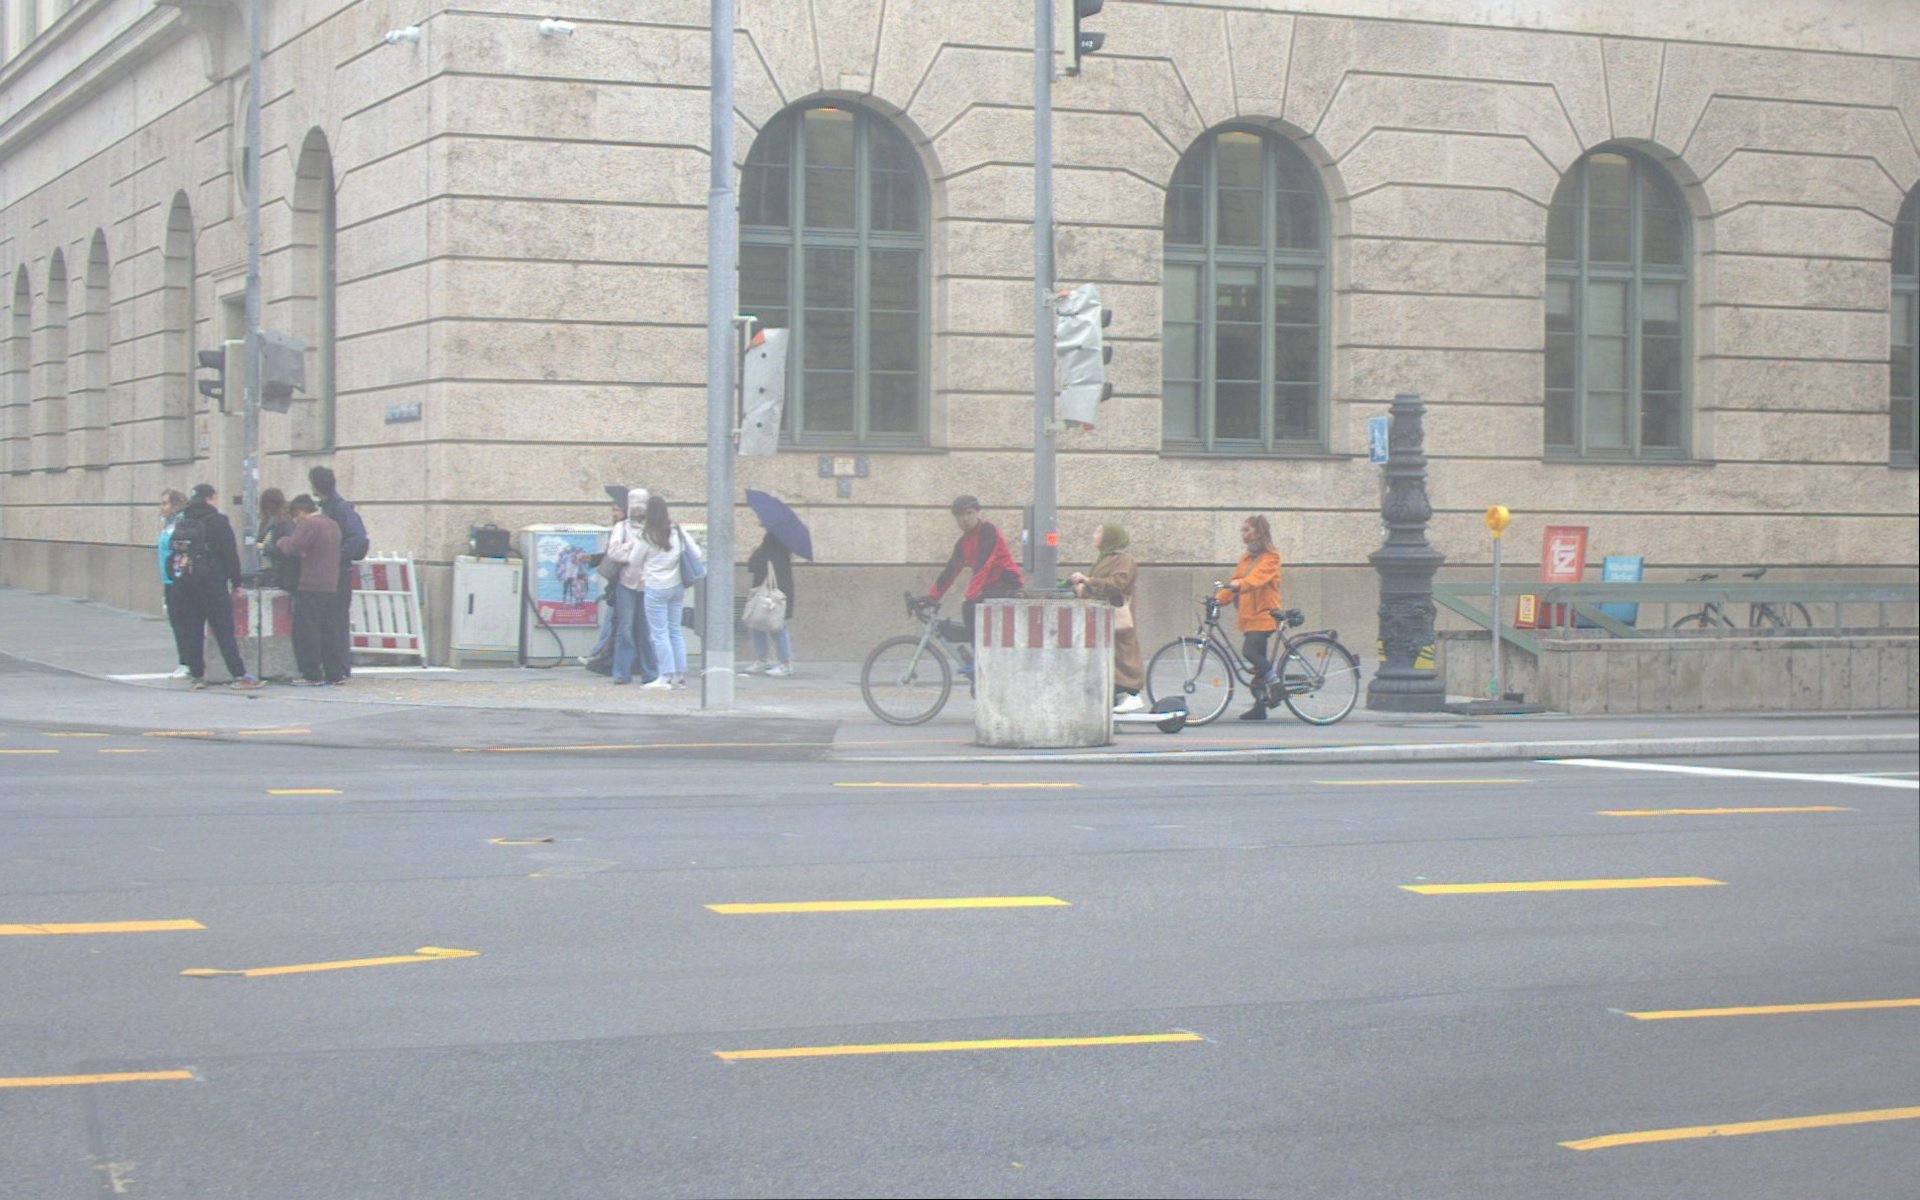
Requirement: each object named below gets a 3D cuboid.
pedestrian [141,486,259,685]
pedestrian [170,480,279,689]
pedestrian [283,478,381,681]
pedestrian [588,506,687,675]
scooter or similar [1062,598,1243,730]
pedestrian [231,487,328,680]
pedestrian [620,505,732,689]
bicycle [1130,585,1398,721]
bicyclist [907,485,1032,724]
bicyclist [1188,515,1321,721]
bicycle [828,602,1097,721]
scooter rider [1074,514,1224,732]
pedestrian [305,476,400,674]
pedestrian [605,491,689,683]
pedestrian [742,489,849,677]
[{"bbox_3d":[-6.822,-0.135,30.870,0.585,1.749,0.818,2,1,36],"label":"pedestrian"},{"bbox_3d":[-6.304,-0.140,29.487,0.817,1.749,0.680,1,1,-7],"label":"pedestrian"},{"bbox_3d":[-5.513,-0.186,30.213,0.584,1.749,0.820,2,1,8],"label":"pedestrian"},{"bbox_3d":[-2.964,-0.093,31.545,0.665,1.522,0.820,1,1,-22],"label":"pedestrian"},{"bbox_3d":[1.455,0.483,26.015,1.210,0.961,0.588,1,1,-22],"label":"scooter or similar"},{"bbox_3d":[-6.275,-0.156,31.719,0.817,1.749,0.586,1,1,-9],"label":"pedestrian"},{"bbox_3d":[-2.455,-0.029,29.644,0.817,1.552,0.667,1,1,-16],"label":"pedestrian"},{"bbox_3d":[2.429,0.423,27.489,1.957,1.037,0.795,1,1,-21],"label":"bicycle"},{"bbox_3d":[0.070,0.028,26.817,0.743,1.836,0.661,1,1,-21],"label":"bicyclist"},{"bbox_3d":[2.348,0.137,27.450,0.743,1.609,0.795,1,1,-21],"label":"bicyclist"},{"bbox_3d":[0.024,0.481,26.818,1.971,0.876,0.662,1,1,-21],"label":"bicycle"},{"bbox_3d":[1.424,0.169,25.989,0.932,1.617,0.592,1,1,-22],"label":"scooter rider"},{"bbox_3d":[-5.473,-0.232,31.016,0.584,1.749,0.820,2,1,8],"label":"pedestrian"},{"bbox_3d":[-2.762,-0.117,30.326,0.615,1.666,0.542,1,1,-16],"label":"pedestrian"},{"bbox_3d":[-1.511,-0.162,31.451,0.715,1.688,0.820,1,1,-22],"label":"pedestrian"}]
